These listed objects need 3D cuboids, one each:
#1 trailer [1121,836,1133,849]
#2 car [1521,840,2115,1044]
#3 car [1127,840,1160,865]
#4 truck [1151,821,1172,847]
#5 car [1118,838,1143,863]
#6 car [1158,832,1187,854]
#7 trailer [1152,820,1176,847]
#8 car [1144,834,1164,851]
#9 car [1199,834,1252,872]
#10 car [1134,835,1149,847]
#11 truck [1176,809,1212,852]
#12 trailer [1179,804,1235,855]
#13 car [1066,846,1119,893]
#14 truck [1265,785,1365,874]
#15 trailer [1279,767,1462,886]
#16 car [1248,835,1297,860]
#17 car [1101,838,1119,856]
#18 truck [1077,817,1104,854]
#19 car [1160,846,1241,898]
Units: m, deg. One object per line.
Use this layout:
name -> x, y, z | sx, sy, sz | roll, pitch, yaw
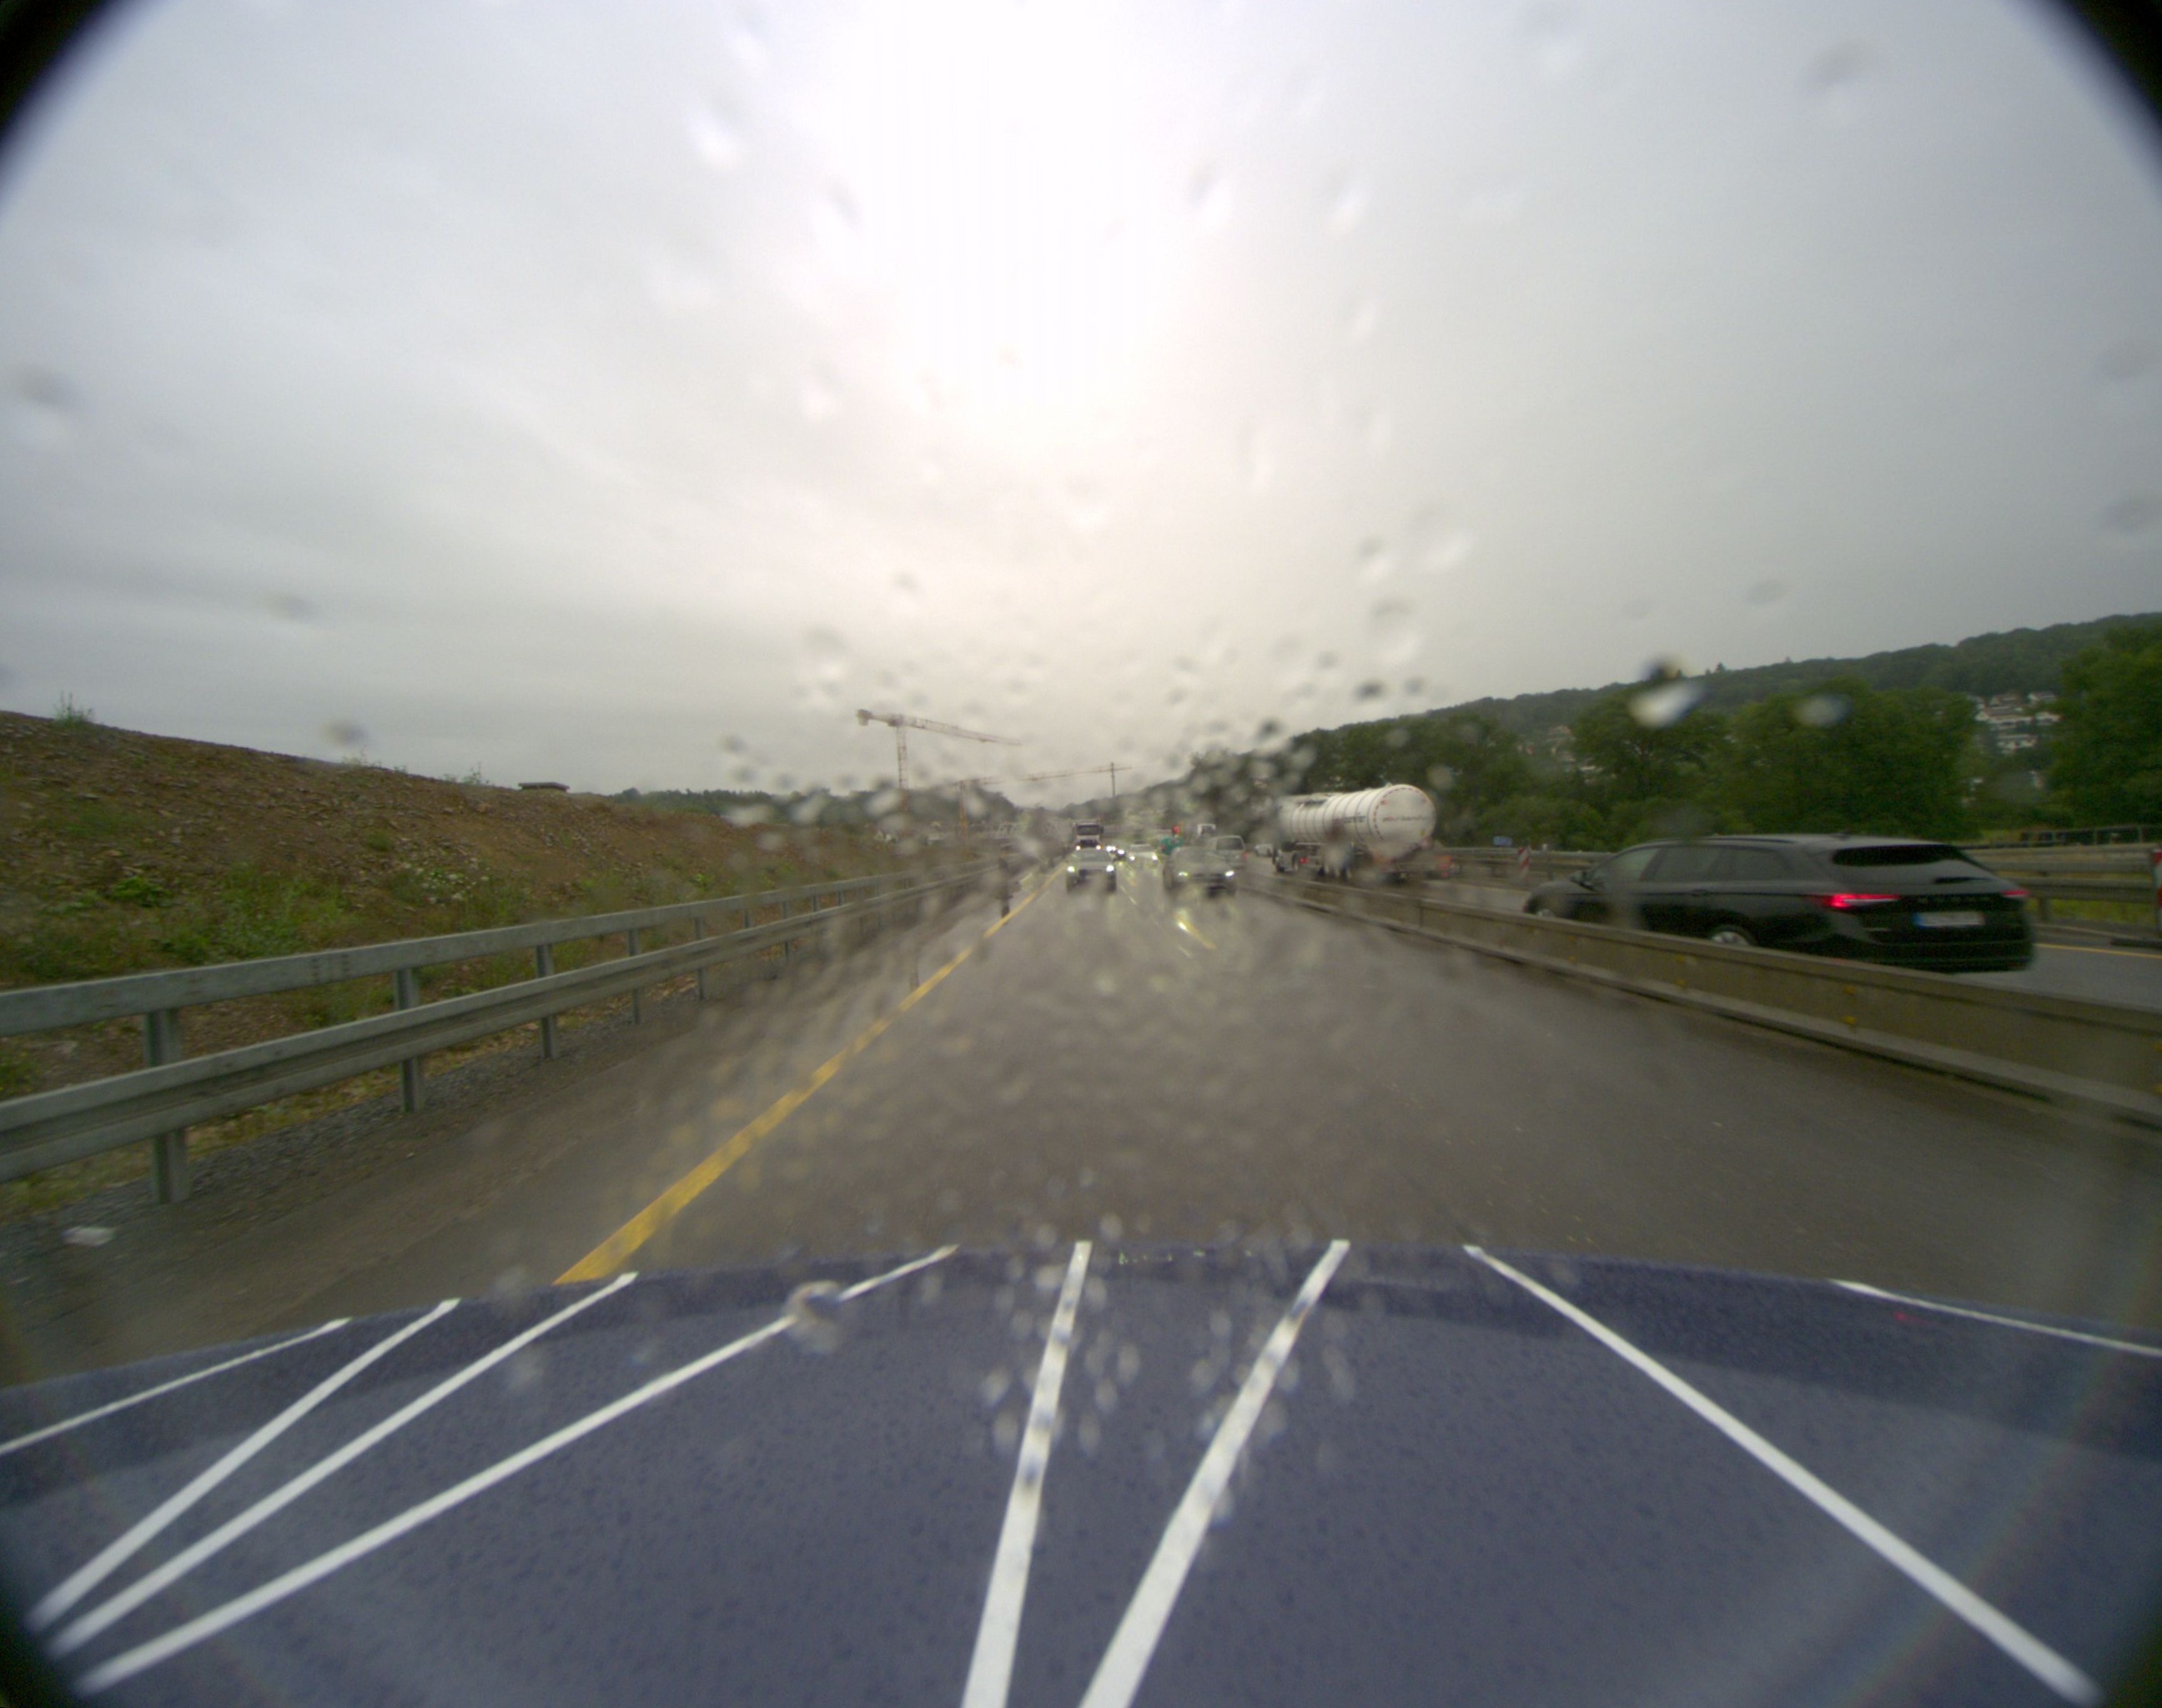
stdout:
trailer -> 14.989, -3.598, 246.565 | 3.285, 3.886, 13.699 | -2, 0, 2
car -> 6.900, 0.637, 8.055 | 1.777, 1.496, 4.678 | -1, 1, 1
car -> 3.932, -0.129, 48.446 | 1.781, 1.430, 4.483 | -2, 1, 2
truck -> 12.712, -3.178, 120.366 | 2.692, 3.905, 5.272 | -1, 2, 1
car -> 4.206, -0.302, 63.917 | 1.998, 2.002, 4.001 | -1, 1, 5
car -> 7.951, -0.958, 66.425 | 1.998, 1.749, 4.687 | -2, 1, 1
trailer -> 12.651, -3.070, 116.154 | 2.692, 3.941, 9.817 | -1, 1, 1
car -> 8.355, -1.353, 87.190 | 1.791, 1.795, 5.188 | -1, 2, 1
car -> 7.199, -0.094, 38.309 | 1.870, 1.790, 4.162 | -2, 1, 1
car -> 9.347, -1.983, 118.205 | 1.879, 1.783, 5.358 | -1, 2, 1
truck -> 11.373, -2.358, 76.825 | 2.756, 4.039, 6.146 | -2, 1, 1
trailer -> 11.210, -2.182, 69.374 | 2.756, 4.019, 15.355 | -2, 1, 1
car -> 0.468, 0.504, 28.353 | 1.781, 1.514, 4.140 | -2, 1, 2
truck -> 10.693, -1.093, 35.430 | 2.627, 3.657, 6.593 | -2, 1, 0
trailer -> 10.676, -0.965, 29.871 | 2.627, 3.657, 12.001 | -2, 1, 0
car -> 16.485, -0.587, 65.657 | 2.072, 2.051, 4.837 | -2, 1, -12
car -> 3.579, -0.847, 93.827 | 1.998, 2.001, 4.188 | -2, -1, 1
truck -> 1.007, -1.881, 76.515 | 2.575, 3.451, 6.625 | -2, 1, 2
car -> 3.692, 0.507, 24.159 | 1.951, 1.430, 4.483 | -2, 1, 2
